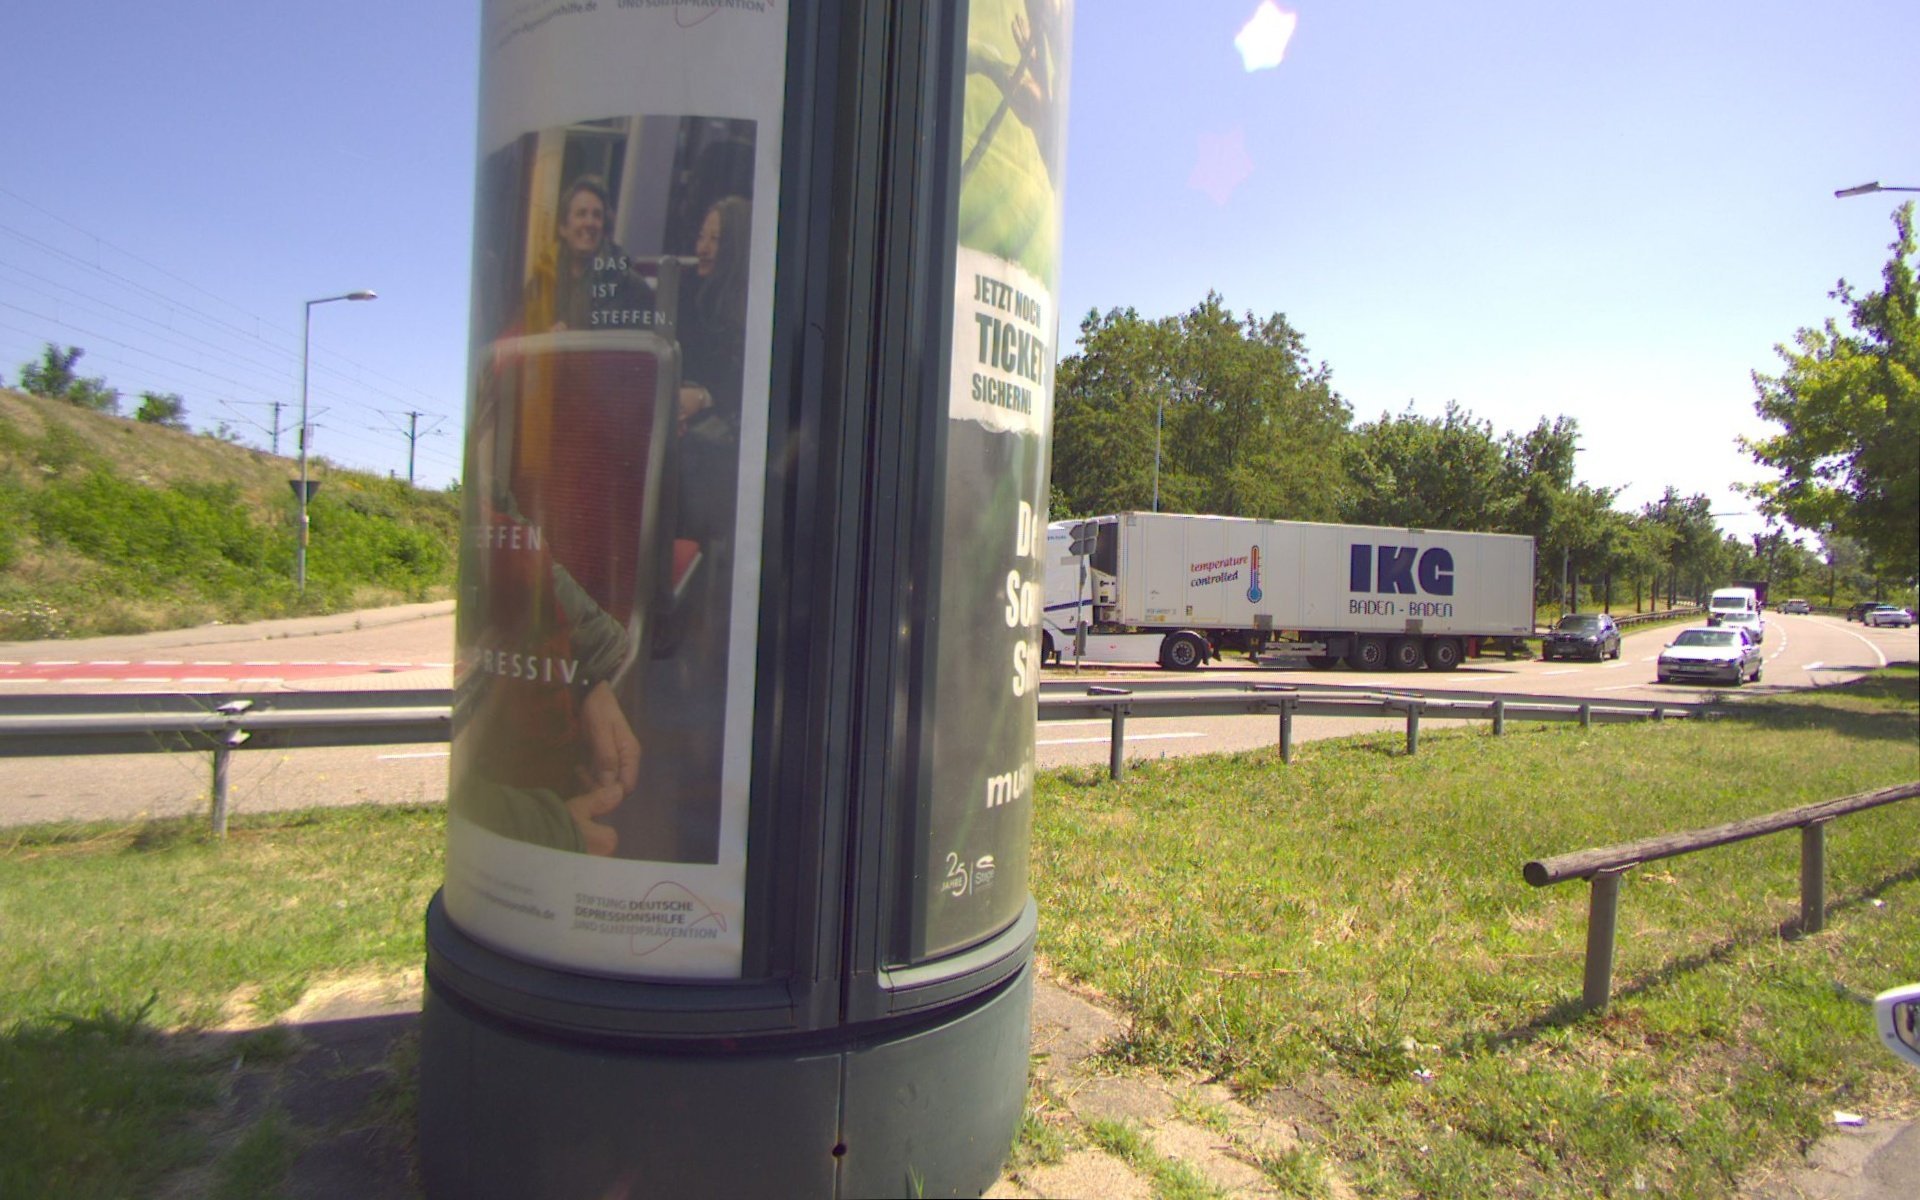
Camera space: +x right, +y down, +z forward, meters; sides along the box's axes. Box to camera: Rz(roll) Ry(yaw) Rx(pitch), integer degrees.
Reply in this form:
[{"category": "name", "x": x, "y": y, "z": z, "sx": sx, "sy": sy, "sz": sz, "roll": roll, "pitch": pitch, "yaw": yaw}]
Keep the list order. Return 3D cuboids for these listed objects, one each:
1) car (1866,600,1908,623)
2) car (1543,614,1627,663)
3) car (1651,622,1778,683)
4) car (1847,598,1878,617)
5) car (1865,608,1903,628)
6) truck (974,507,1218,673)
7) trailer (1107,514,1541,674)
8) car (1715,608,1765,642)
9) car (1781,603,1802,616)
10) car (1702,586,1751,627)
[{"category": "car", "x": 64.408, "y": 0.782, "z": 69.864, "sx": 1.643, "sy": 1.484, "sz": 3.569, "roll": 2, "pitch": 0, "yaw": 35}, {"category": "car", "x": 22.959, "y": 1.403, "z": 36.827, "sx": 4.441, "sy": 1.654, "sz": 1.475, "roll": 2, "pitch": 0, "yaw": -43}, {"category": "car", "x": 19.406, "y": 1.329, "z": 25.779, "sx": 4.185, "sy": 1.421, "sz": 1.622, "roll": 2, "pitch": -1, "yaw": -38}, {"category": "car", "x": 70.930, "y": 0.588, "z": 78.988, "sx": 1.399, "sy": 1.331, "sz": 3.326, "roll": 2, "pitch": 0, "yaw": 35}, {"category": "car", "x": 64.285, "y": 1.259, "z": 69.936, "sx": 1.437, "sy": 1.331, "sz": 3.626, "roll": 2, "pitch": 0, "yaw": 35}, {"category": "truck", "x": 3.543, "y": -0.261, "z": 27.312, "sx": 6.146, "sy": 4.075, "sz": 2.552, "roll": 2, "pitch": 0, "yaw": 1}, {"category": "trailer", "x": 10.590, "y": -0.098, "z": 29.000, "sx": 12.500, "sy": 4.104, "sz": 3.010, "roll": 1, "pitch": 1, "yaw": -17}, {"category": "car", "x": 38.955, "y": 1.257, "z": 50.129, "sx": 1.616, "sy": 1.588, "sz": 4.050, "roll": 0, "pitch": -1, "yaw": 42}, {"category": "car", "x": 80.820, "y": 0.906, "z": 97.671, "sx": 1.304, "sy": 1.154, "sz": 2.986, "roll": 2, "pitch": 0, "yaw": 35}, {"category": "car", "x": 49.160, "y": 0.401, "z": 64.368, "sx": 2.070, "sy": 2.534, "sz": 5.778, "roll": 0, "pitch": 0, "yaw": 41}]
